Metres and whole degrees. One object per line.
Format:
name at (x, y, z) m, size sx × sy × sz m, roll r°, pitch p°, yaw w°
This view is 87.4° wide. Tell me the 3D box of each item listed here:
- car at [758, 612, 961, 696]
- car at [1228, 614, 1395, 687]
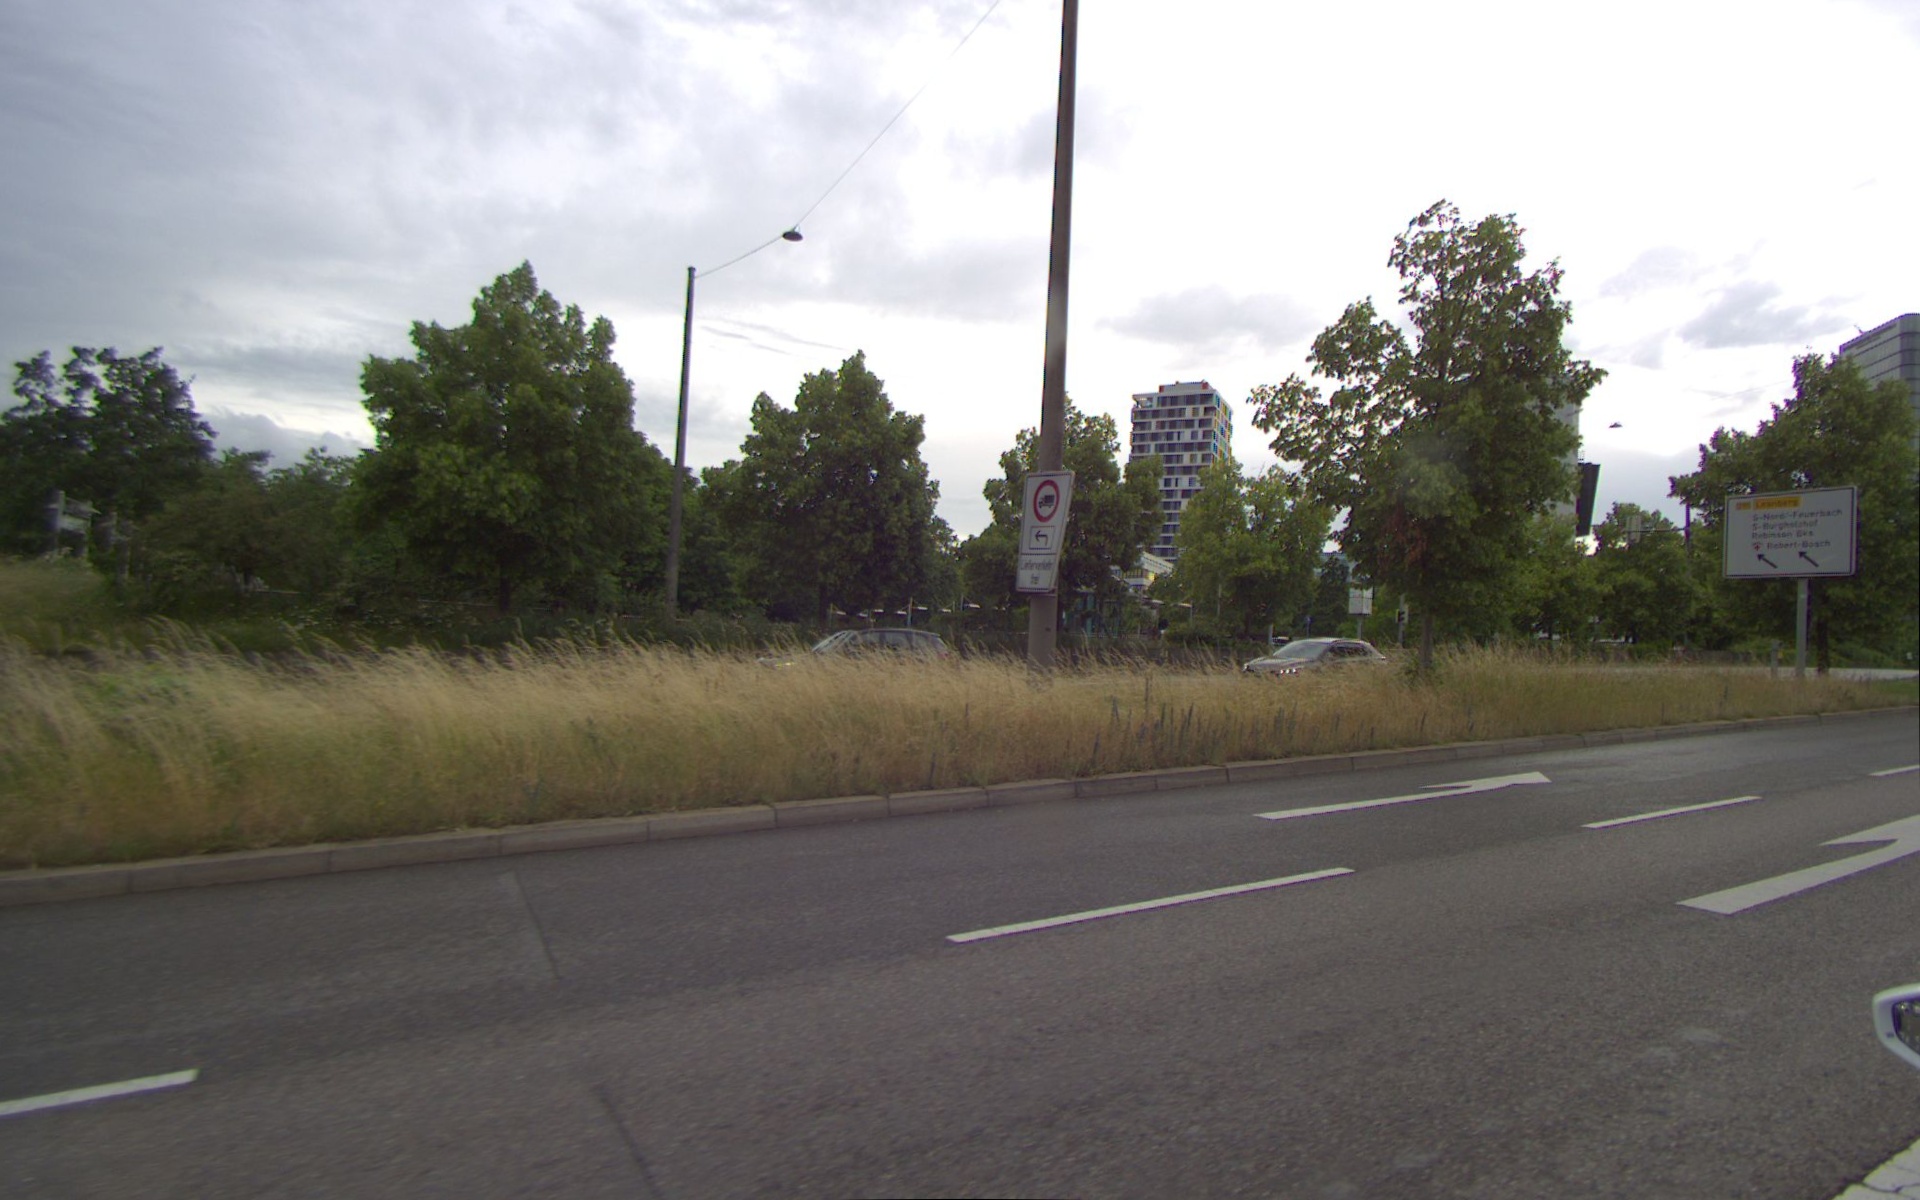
car at (-2.130, 1.112, 21.625) m, size 3.959 × 1.641 × 1.850 m, roll 1°, pitch -1°, yaw -34°
car at (8.815, 1.219, 25.130) m, size 3.978 × 1.661 × 1.981 m, roll 1°, pitch -1°, yaw -34°
